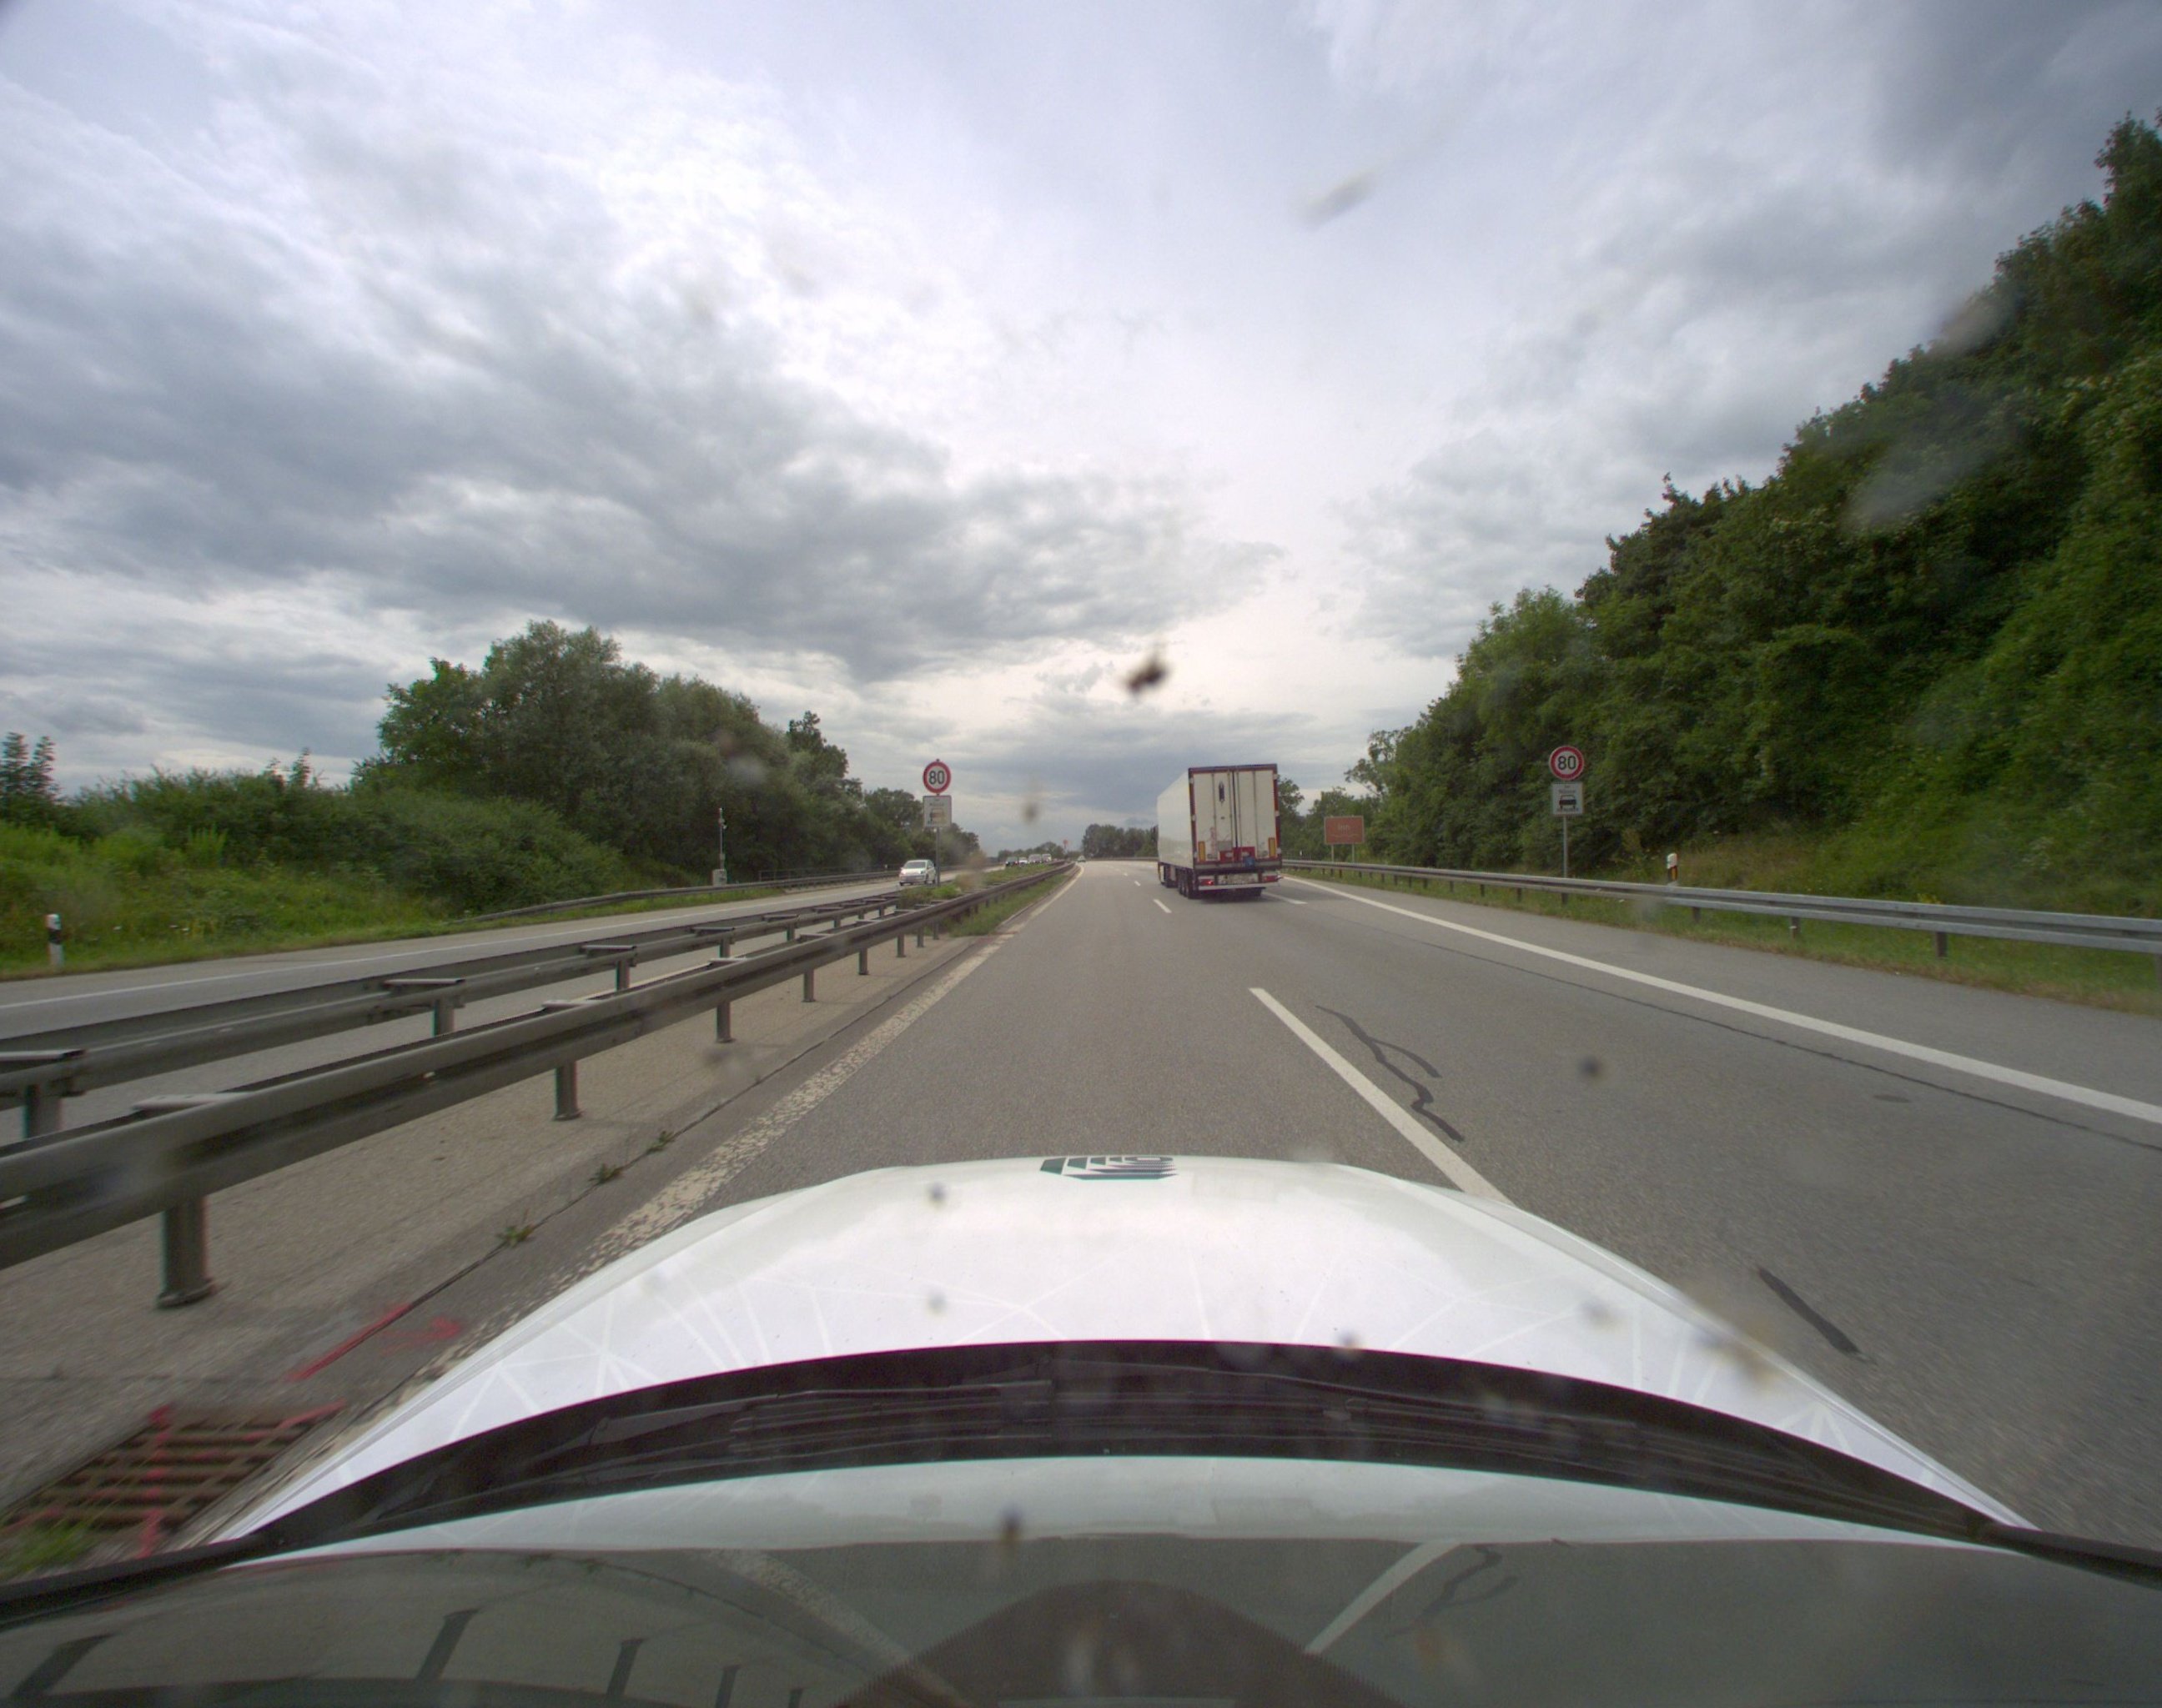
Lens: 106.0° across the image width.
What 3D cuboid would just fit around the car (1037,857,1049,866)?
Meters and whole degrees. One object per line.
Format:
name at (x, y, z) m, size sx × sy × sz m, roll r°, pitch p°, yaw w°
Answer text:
car at (-6.905, 1.376, 148.237) m, size 1.839 × 1.612 × 4.946 m, roll -1°, pitch 0°, yaw 1°

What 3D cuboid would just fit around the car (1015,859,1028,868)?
car at (-10.225, 1.597, 141.149) m, size 1.839 × 1.438 × 3.936 m, roll -3°, pitch 0°, yaw 0°

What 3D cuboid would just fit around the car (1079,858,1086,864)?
car at (0.405, 1.822, 215.048) m, size 1.897 × 1.640 × 4.393 m, roll -2°, pitch -1°, yaw -1°

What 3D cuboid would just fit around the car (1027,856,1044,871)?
car at (-5.611, 1.146, 100.343) m, size 1.719 × 1.650 × 4.225 m, roll -2°, pitch 0°, yaw 2°

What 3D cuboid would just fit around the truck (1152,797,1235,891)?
truck at (5.015, -0.406, 37.417) m, size 3.051 × 3.892 × 6.002 m, roll -2°, pitch 0°, yaw 1°

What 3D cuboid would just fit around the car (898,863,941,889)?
car at (-9.730, 1.304, 49.286) m, size 1.644 × 1.492 × 4.284 m, roll -1°, pitch 0°, yaw 2°

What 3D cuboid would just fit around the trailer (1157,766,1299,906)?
trailer at (4.815, -0.469, 30.033) m, size 3.051 × 3.890 × 13.795 m, roll -2°, pitch 0°, yaw 2°

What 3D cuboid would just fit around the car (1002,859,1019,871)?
car at (-9.701, 1.566, 112.532) m, size 1.722 × 1.560 × 4.333 m, roll -2°, pitch 0°, yaw 2°
